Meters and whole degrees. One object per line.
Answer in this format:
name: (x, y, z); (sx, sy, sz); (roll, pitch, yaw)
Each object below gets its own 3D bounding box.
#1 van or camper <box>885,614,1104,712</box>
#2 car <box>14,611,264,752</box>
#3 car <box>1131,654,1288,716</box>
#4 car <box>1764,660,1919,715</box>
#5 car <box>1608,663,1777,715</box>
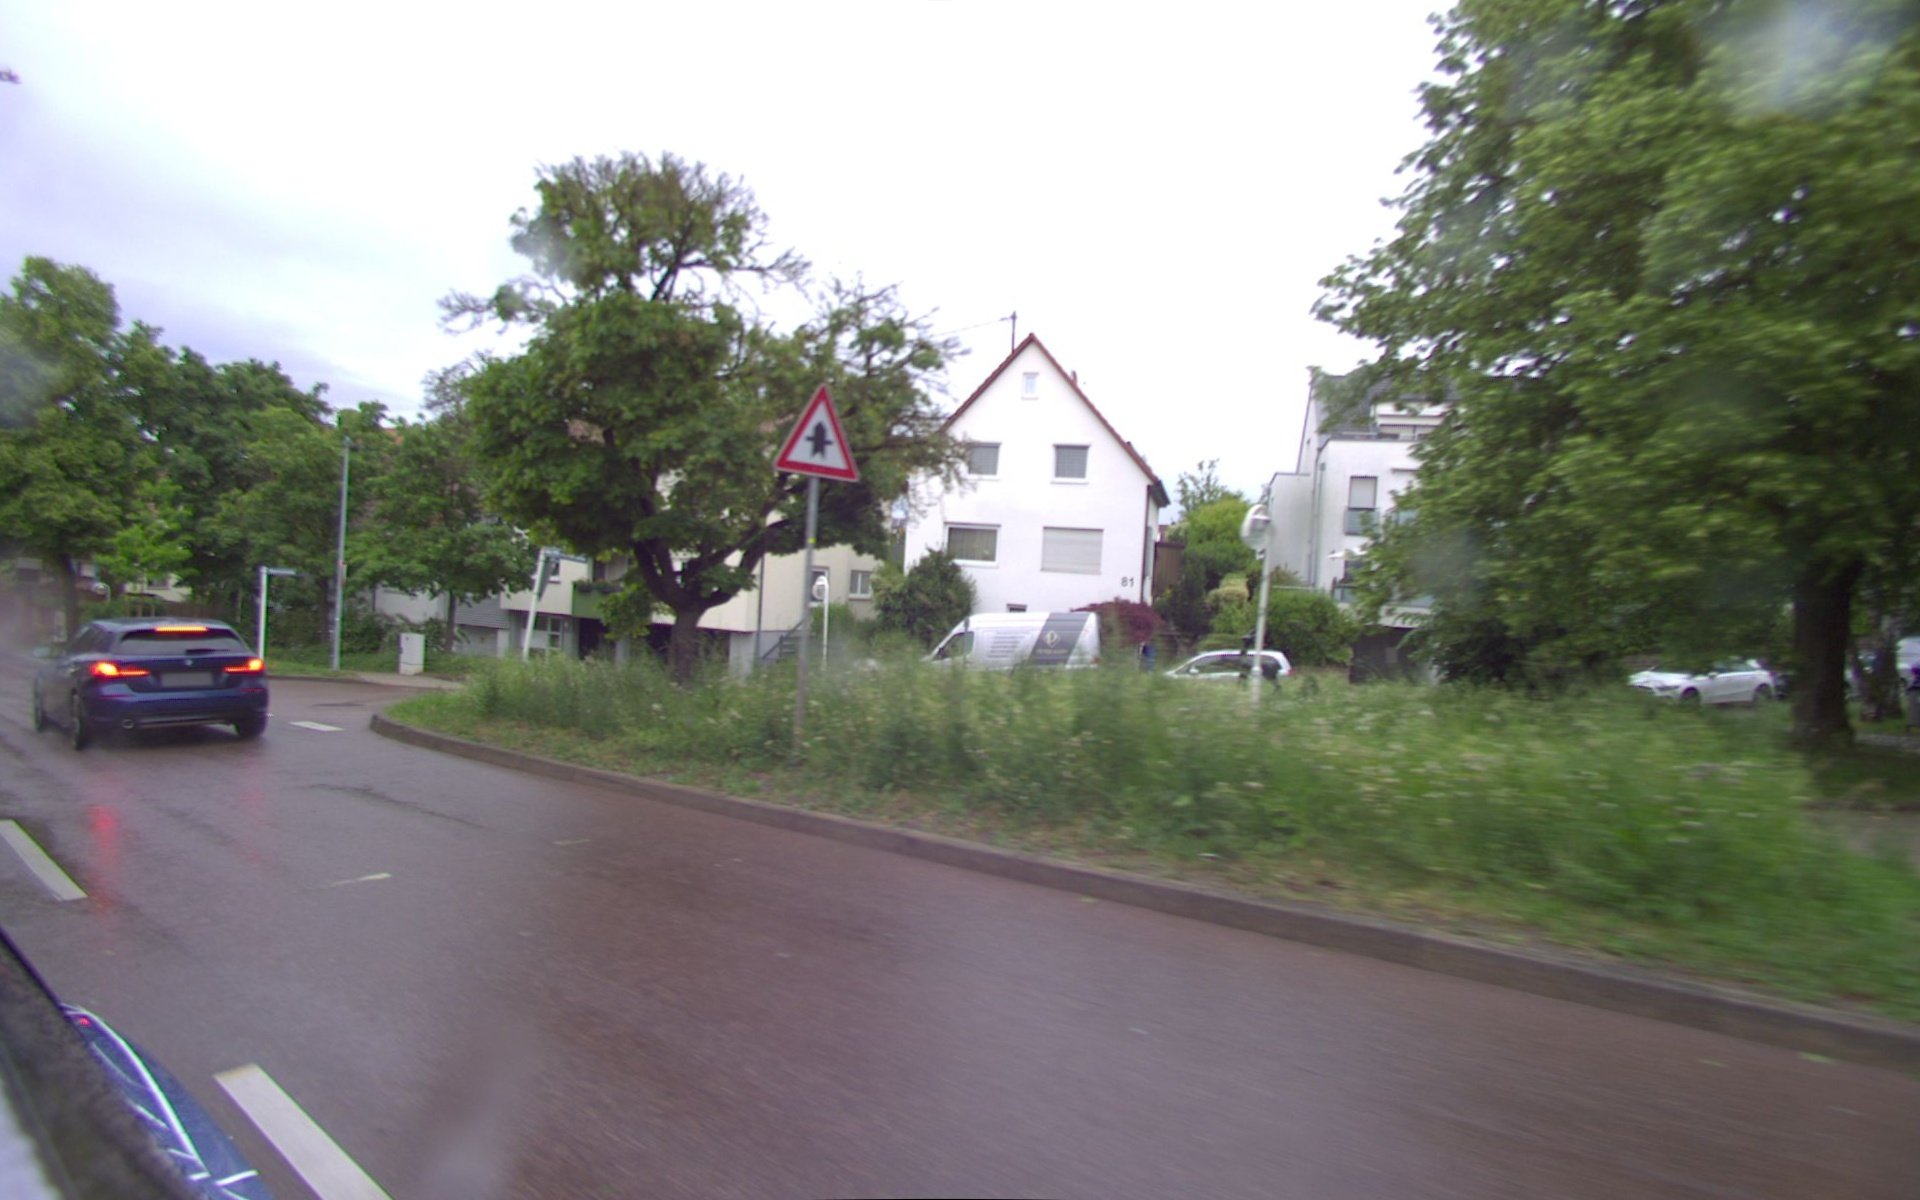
van or camper: (0.988, 1.725, 28.491); (5.999, 2.576, 1.636); (0, 1, 10)
car: (-10.059, 0.874, 12.313); (3.842, 1.440, 1.701); (-1, -2, 41)
car: (6.740, 2.288, 27.669); (3.989, 1.560, 1.557); (0, -1, 6)
car: (26.163, 2.534, 29.922); (3.931, 1.400, 1.919); (0, -1, -19)
car: (20.552, 2.473, 28.432); (3.907, 1.263, 1.726); (0, -1, -14)
